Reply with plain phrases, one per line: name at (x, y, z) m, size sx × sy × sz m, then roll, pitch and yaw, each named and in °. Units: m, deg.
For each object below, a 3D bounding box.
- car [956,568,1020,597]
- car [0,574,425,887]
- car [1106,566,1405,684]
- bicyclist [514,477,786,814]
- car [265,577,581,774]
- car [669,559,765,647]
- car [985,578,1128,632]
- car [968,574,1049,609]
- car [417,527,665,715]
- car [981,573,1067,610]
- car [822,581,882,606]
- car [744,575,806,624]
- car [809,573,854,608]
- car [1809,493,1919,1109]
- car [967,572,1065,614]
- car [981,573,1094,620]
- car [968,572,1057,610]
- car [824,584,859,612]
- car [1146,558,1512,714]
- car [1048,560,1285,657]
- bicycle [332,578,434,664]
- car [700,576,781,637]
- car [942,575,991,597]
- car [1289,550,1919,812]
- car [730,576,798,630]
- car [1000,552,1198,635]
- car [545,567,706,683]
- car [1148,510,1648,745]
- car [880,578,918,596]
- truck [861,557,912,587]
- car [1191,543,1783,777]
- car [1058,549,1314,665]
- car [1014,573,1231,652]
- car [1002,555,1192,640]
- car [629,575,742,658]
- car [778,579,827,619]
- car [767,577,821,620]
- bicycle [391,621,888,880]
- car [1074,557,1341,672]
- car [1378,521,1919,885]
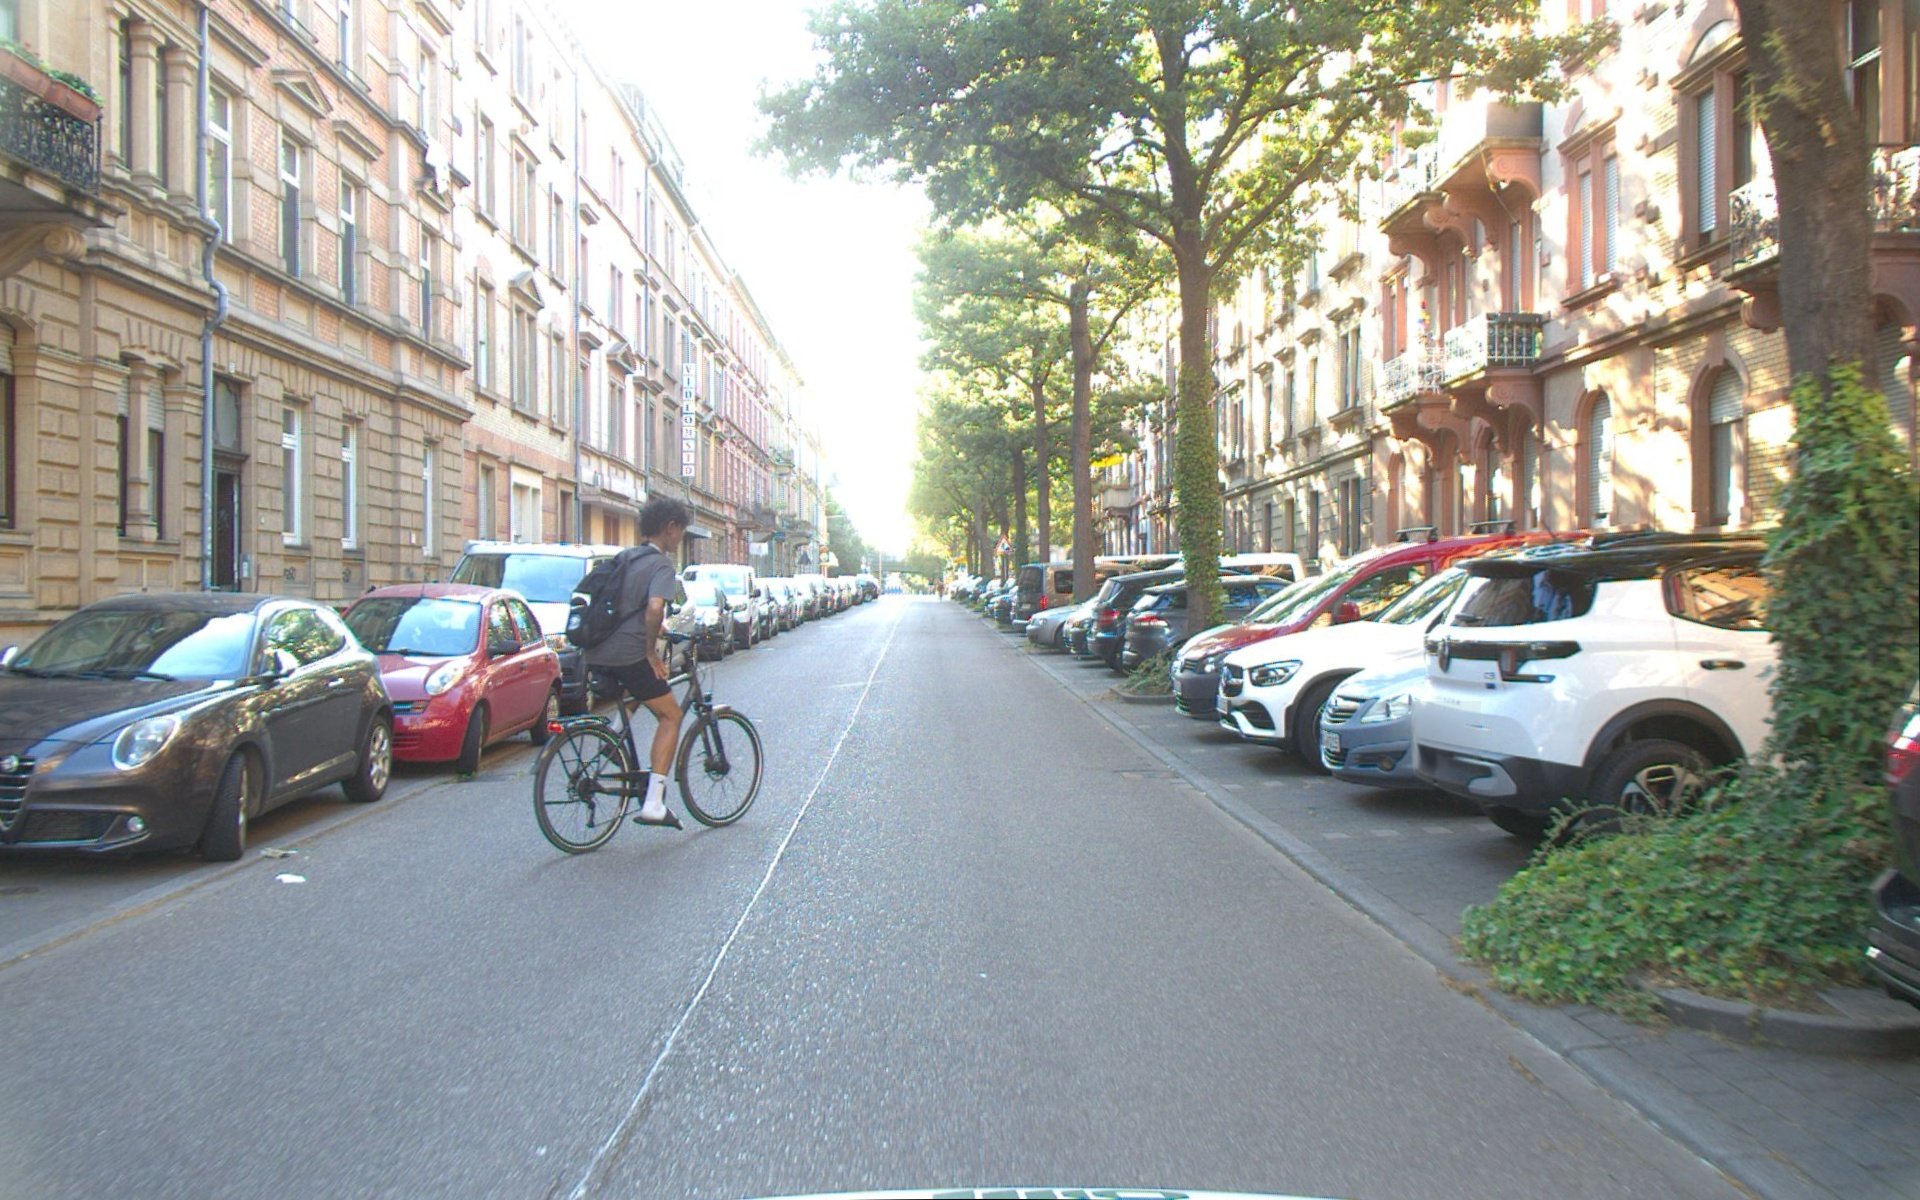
car at (1.713, -1.083, 100.698) m, size 3.773 × 1.601 × 1.717 m, roll -2°, pitch 1°, yaw -3°
car at (-4.801, 0.629, 10.279) m, size 1.723 × 1.527 × 4.058 m, roll 2°, pitch 1°, yaw -2°
car at (4.185, 0.346, 23.795) m, size 3.929 × 1.493 × 1.733 m, roll -2°, pitch 0°, yaw -2°
bicyclist at (-1.807, 0.230, 9.713) m, size 0.980 × 1.821 × 1.201 m, roll 0°, pitch 1°, yaw 40°
car at (-4.633, 0.572, 14.821) m, size 1.560 × 1.501 × 3.700 m, roll 2°, pitch 1°, yaw 0°
car at (-5.489, 0.039, 37.795) m, size 1.723 × 1.874 × 4.527 m, roll -1°, pitch 1°, yaw -3°
car at (2.681, 0.122, 46.303) m, size 3.775 × 1.316 × 1.716 m, roll -2°, pitch 1°, yaw -5°
car at (2.412, -0.455, 83.150) m, size 3.780 × 1.601 × 1.714 m, roll -2°, pitch 1°, yaw -10°
car at (-4.973, 0.196, 20.416) m, size 1.795 × 1.977 × 5.259 m, roll 2°, pitch 1°, yaw -1°
car at (3.013, -0.413, 78.348) m, size 3.780 × 1.601 × 1.714 m, roll -2°, pitch 1°, yaw -10°
car at (-7.032, -0.414, 108.002) m, size 1.957 × 1.512 × 3.991 m, roll -1°, pitch -1°, yaw 30°
car at (-5.968, -0.049, 53.737) m, size 1.723 × 1.498 × 4.057 m, roll -1°, pitch 1°, yaw -3°
car at (-5.986, -0.424, 77.275) m, size 1.953 × 1.512 × 3.998 m, roll 0°, pitch -1°, yaw -2°
car at (4.594, 0.471, 3.992) m, size 4.100 × 1.656 × 1.838 m, roll -2°, pitch 0°, yaw 1°
car at (2.315, -0.301, 68.584) m, size 3.780 × 1.601 × 1.714 m, roll -2°, pitch 1°, yaw -10°
car at (2.735, -0.140, 58.638) m, size 3.775 × 1.505 × 1.716 m, roll -2°, pitch 1°, yaw -5°
car at (2.405, -0.418, 75.924) m, size 3.780 × 1.601 × 1.714 m, roll -2°, pitch 1°, yaw -10°
car at (-6.961, -0.108, 97.382) m, size 1.953 × 1.512 × 3.998 m, roll 0°, pitch -1°, yaw -2°
car at (4.109, 0.357, 18.729) m, size 3.590 × 1.480 × 1.847 m, roll -3°, pitch 2°, yaw -8°
car at (3.916, 0.139, 31.726) m, size 4.143 × 1.639 × 1.831 m, roll -2°, pitch 1°, yaw -9°
bicycle at (-9.168, 0.301, 26.417) m, size 0.725 × 1.277 × 2.826 m, roll 1°, pitch 1°, yaw -2°
car at (-5.625, 0.127, 42.775) m, size 1.723 × 1.498 × 4.057 m, roll -1°, pitch 1°, yaw -3°
car at (0.537, -1.107, 130.978) m, size 3.773 × 1.601 × 1.717 m, roll -2°, pitch 1°, yaw -3°
car at (4.431, 0.496, 11.294) m, size 3.930 × 1.459 × 1.794 m, roll -3°, pitch 0°, yaw -2°
car at (-5.751, 0.049, 48.874) m, size 1.723 × 1.498 × 4.057 m, roll -1°, pitch 1°, yaw -3°
car at (3.600, -0.186, 43.468) m, size 4.955 × 1.959 × 1.835 m, roll -2°, pitch 1°, yaw -2°
car at (-5.213, 0.340, 26.338) m, size 1.718 × 1.636 × 4.383 m, roll 2°, pitch 1°, yaw -1°
car at (4.203, 0.217, 16.289) m, size 4.357 × 1.957 × 1.849 m, roll -3°, pitch 2°, yaw -4°
car at (-6.500, -1.397, 176.600) m, size 3.902 × 1.891 × 1.752 m, roll 1°, pitch 1°, yaw 6°
truck at (-10.488, -3.939, 236.726) m, size 7.172 × 4.019 × 2.404 m, roll 2°, pitch 0°, yaw -38°
car at (4.217, 0.428, 13.683) m, size 4.257 × 1.583 × 1.849 m, roll -3°, pitch 2°, yaw -2°
car at (3.906, 0.107, 29.021) m, size 4.137 × 1.807 × 1.834 m, roll -2°, pitch 1°, yaw -3°
car at (3.311, 0.235, 34.085) m, size 4.140 × 1.428 × 1.833 m, roll -2°, pitch 1°, yaw -6°
car at (3.286, -0.072, 39.722) m, size 4.161 × 1.826 × 1.823 m, roll -2°, pitch 1°, yaw -21°
car at (-5.367, 0.286, 32.781) m, size 1.723 × 1.492 × 3.998 m, roll 2°, pitch 1°, yaw -3°
car at (-6.130, -0.077, 64.752) m, size 1.723 × 1.498 × 4.057 m, roll -1°, pitch 1°, yaw -3°
car at (-5.976, -0.094, 59.990) m, size 1.723 × 1.498 × 4.057 m, roll -1°, pitch 1°, yaw -3°
bicycle at (-1.765, 0.774, 9.732) m, size 0.980 × 1.178 × 2.908 m, roll 0°, pitch 2°, yaw 40°
car at (3.887, 0.224, 26.371) m, size 3.929 × 1.635 × 1.733 m, roll -2°, pitch 0°, yaw -2°
car at (4.464, 0.449, 8.843) m, size 3.930 × 1.656 × 1.804 m, roll -2°, pitch 0°, yaw -3°
